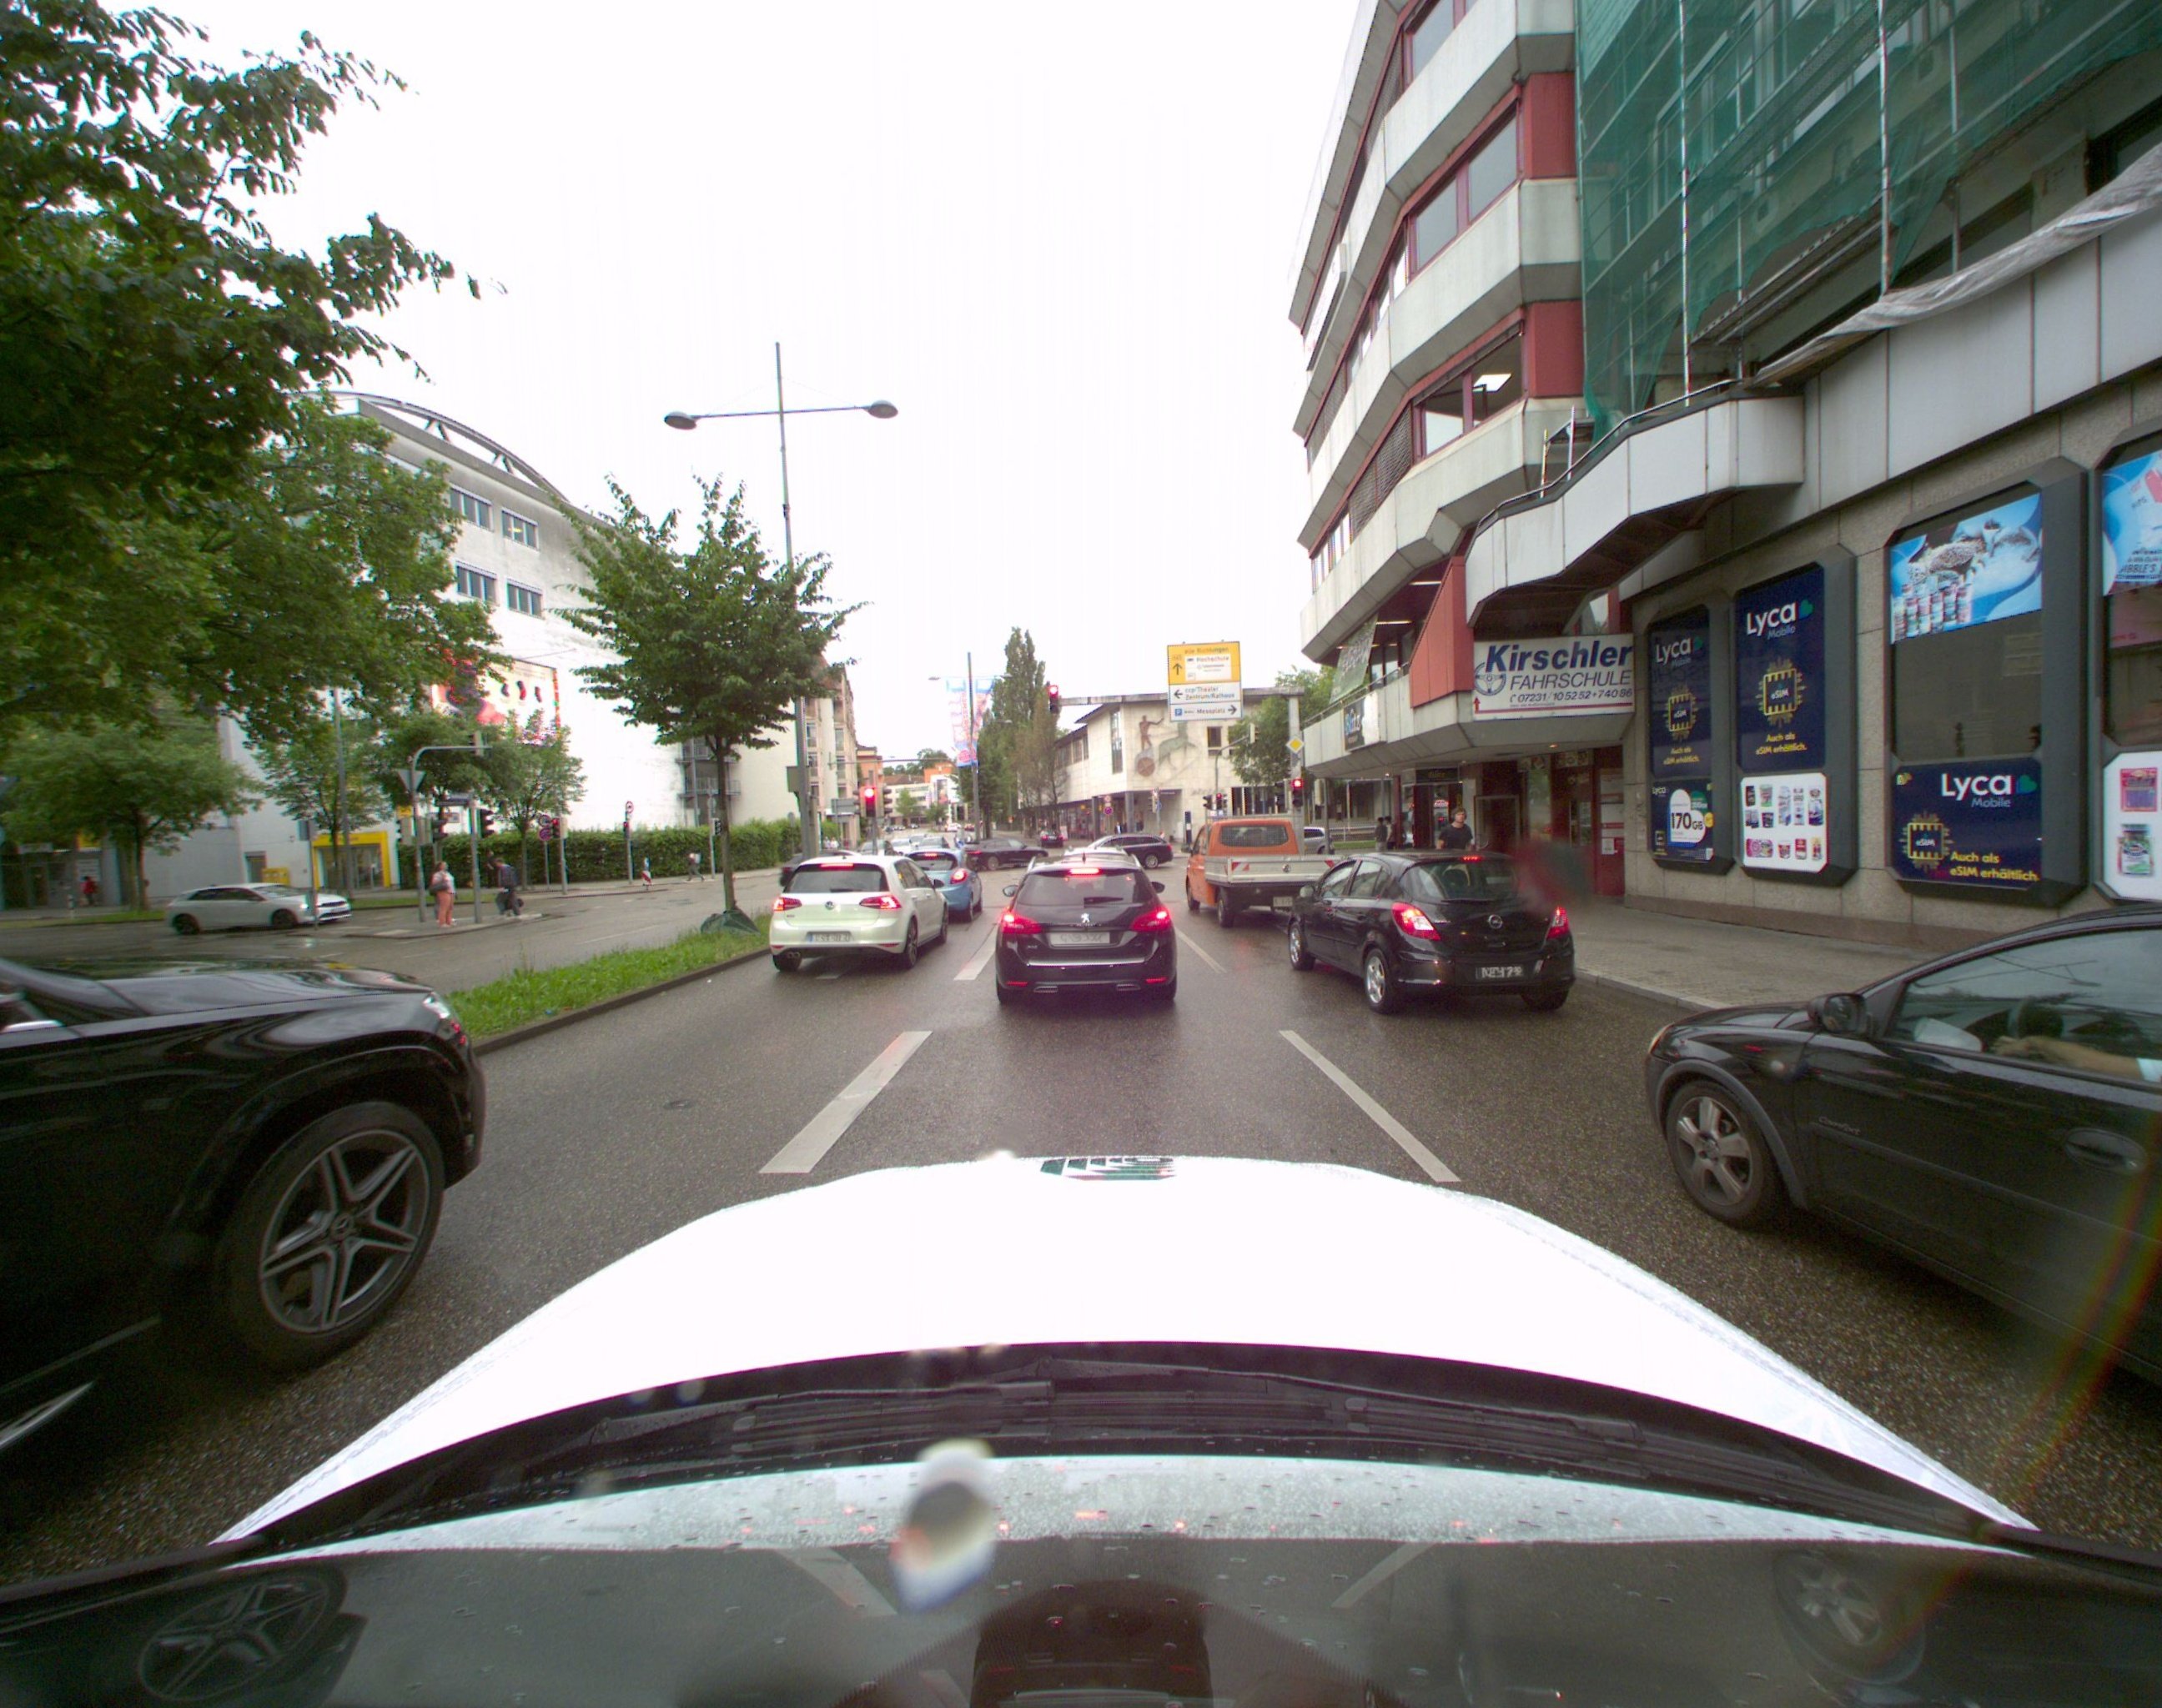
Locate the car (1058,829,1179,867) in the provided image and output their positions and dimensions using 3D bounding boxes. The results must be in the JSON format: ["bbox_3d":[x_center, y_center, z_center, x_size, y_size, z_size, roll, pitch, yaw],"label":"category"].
[{"bbox_3d":[1.531,-0.275,33.629,4.727,1.486,1.631,-1,1,-13],"label":"car"}]

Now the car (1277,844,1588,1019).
[{"bbox_3d":[3.385,0.616,8.688,1.611,1.429,3.840,-1,1,-1],"label":"car"}]

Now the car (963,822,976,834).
[{"bbox_3d":[-20.251,-4.678,147.969,1.709,1.936,3.979,0,-1,-15],"label":"car"}]

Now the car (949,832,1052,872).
[{"bbox_3d":[-3.667,-0.137,37.633,4.534,1.454,1.771,-7,4,-44],"label":"car"}]

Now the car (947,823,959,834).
[{"bbox_3d":[-23.074,-4.594,146.878,1.709,1.882,3.979,0,-1,-15],"label":"car"}]

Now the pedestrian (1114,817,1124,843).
[{"bbox_3d":[2.667,-1.693,56.986,0.633,1.758,0.735,-1,-1,8],"label":"pedestrian"}]

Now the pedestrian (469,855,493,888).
[{"bbox_3d":[-29.675,0.867,40.289,0.730,1.643,0.638,-1,-1,-6],"label":"pedestrian"}]

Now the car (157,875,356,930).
[{"bbox_3d":[-25.985,1.502,25.803,4.287,1.486,1.635,-1,1,-6],"label":"car"}]

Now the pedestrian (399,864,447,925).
[{"bbox_3d":[-18.846,1.157,23.341,0.750,1.661,0.628,-2,2,1],"label":"pedestrian"}]

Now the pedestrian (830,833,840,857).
[{"bbox_3d":[-18.507,-0.673,61.176,0.595,1.728,0.655,-1,-1,-7],"label":"pedestrian"}]

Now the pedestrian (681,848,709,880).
[{"bbox_3d":[-19.137,0.508,40.397,1.059,1.578,0.683,-1,-1,-3],"label":"pedestrian"}]

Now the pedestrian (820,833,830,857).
[{"bbox_3d":[-19.108,-0.659,60.857,0.595,1.728,0.655,-1,-1,-7],"label":"pedestrian"}]

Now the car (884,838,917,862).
[{"bbox_3d":[-12.025,-0.295,54.407,1.630,1.486,3.604,-1,1,-4],"label":"car"}]

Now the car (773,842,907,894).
[{"bbox_3d":[-8.345,0.474,28.545,4.226,1.565,1.699,-3,1,-9],"label":"car"}]

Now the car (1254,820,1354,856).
[{"bbox_3d":[9.735,-0.691,35.642,3.896,1.486,1.617,-1,-1,-11],"label":"car"}]

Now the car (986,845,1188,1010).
[{"bbox_3d":[0.061,0.627,9.136,1.772,1.429,3.842,-1,1,0],"label":"car"}]

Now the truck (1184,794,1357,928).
[{"bbox_3d":[3.427,0.052,15.840,2.170,2.172,5.020,-1,1,0],"label":"truck"}]

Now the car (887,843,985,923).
[{"bbox_3d":[-3.021,0.542,17.628,1.629,1.486,3.606,-1,1,-3],"label":"car"}]

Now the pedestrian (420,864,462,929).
[{"bbox_3d":[-17.010,1.115,21.656,0.555,1.661,0.580,-2,2,2],"label":"pedestrian"}]

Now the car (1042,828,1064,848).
[{"bbox_3d":[-2.356,-1.300,67.770,1.721,1.490,4.726,-1,-1,-3],"label":"car"}]

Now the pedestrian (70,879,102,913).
[{"bbox_3d":[-48.446,2.035,39.661,0.633,1.643,0.735,-1,-1,8],"label":"pedestrian"}]

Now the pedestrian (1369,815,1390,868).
[{"bbox_3d":[9.607,-0.394,26.186,0.424,1.682,0.450,-3,-1,0],"label":"pedestrian"}]

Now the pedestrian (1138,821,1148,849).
[{"bbox_3d":[4.440,-1.339,57.855,0.633,1.897,0.735,-1,-1,8],"label":"pedestrian"}]

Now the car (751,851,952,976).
[{"bbox_3d":[-3.044,0.701,11.657,1.772,1.429,3.841,-1,1,0],"label":"car"}]

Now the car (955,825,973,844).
[{"bbox_3d":[-11.437,-1.871,79.614,1.743,1.640,3.988,-1,-1,-9],"label":"car"}]

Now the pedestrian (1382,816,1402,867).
[{"bbox_3d":[10.133,-0.403,26.564,0.395,1.640,0.504,-3,-1,2],"label":"pedestrian"}]

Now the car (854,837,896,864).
[{"bbox_3d":[-11.977,-0.250,47.464,1.569,1.486,3.608,-1,1,-1],"label":"car"}]

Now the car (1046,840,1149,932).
[{"bbox_3d":[0.328,0.496,15.426,1.690,1.486,3.795,-1,1,2],"label":"car"}]

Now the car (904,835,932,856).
[{"bbox_3d":[-12.327,-0.668,61.689,1.630,1.486,3.604,-1,1,-4],"label":"car"}]

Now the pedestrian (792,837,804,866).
[{"bbox_3d":[-17.543,-0.151,50.493,0.538,1.748,0.745,-1,-1,-7],"label":"pedestrian"}]

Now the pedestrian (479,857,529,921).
[{"bbox_3d":[-16.423,0.981,23.208,0.921,1.784,0.708,-1,-1,-4],"label":"pedestrian"}]

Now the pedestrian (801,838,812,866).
[{"bbox_3d":[-17.565,-0.129,52.151,0.538,1.748,0.564,-1,-1,-3],"label":"pedestrian"}]

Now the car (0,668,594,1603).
[{"bbox_3d":[-3.153,0.561,0.972,1.903,1.870,5.076,-1,-1,3],"label":"car"}]

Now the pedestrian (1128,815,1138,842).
[{"bbox_3d":[3.680,-1.810,57.900,0.633,1.897,0.735,-1,-1,8],"label":"pedestrian"}]

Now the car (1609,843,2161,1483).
[{"bbox_3d":[3.255,0.697,2.091,1.600,1.429,3.626,-1,1,3],"label":"car"}]

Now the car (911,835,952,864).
[{"bbox_3d":[-8.750,-0.244,47.830,1.739,1.579,3.997,-1,-1,-1],"label":"car"}]

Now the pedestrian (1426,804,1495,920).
[{"bbox_3d":[6.282,0.135,13.526,0.736,1.816,0.776,-6,-1,13],"label":"pedestrian"}]
